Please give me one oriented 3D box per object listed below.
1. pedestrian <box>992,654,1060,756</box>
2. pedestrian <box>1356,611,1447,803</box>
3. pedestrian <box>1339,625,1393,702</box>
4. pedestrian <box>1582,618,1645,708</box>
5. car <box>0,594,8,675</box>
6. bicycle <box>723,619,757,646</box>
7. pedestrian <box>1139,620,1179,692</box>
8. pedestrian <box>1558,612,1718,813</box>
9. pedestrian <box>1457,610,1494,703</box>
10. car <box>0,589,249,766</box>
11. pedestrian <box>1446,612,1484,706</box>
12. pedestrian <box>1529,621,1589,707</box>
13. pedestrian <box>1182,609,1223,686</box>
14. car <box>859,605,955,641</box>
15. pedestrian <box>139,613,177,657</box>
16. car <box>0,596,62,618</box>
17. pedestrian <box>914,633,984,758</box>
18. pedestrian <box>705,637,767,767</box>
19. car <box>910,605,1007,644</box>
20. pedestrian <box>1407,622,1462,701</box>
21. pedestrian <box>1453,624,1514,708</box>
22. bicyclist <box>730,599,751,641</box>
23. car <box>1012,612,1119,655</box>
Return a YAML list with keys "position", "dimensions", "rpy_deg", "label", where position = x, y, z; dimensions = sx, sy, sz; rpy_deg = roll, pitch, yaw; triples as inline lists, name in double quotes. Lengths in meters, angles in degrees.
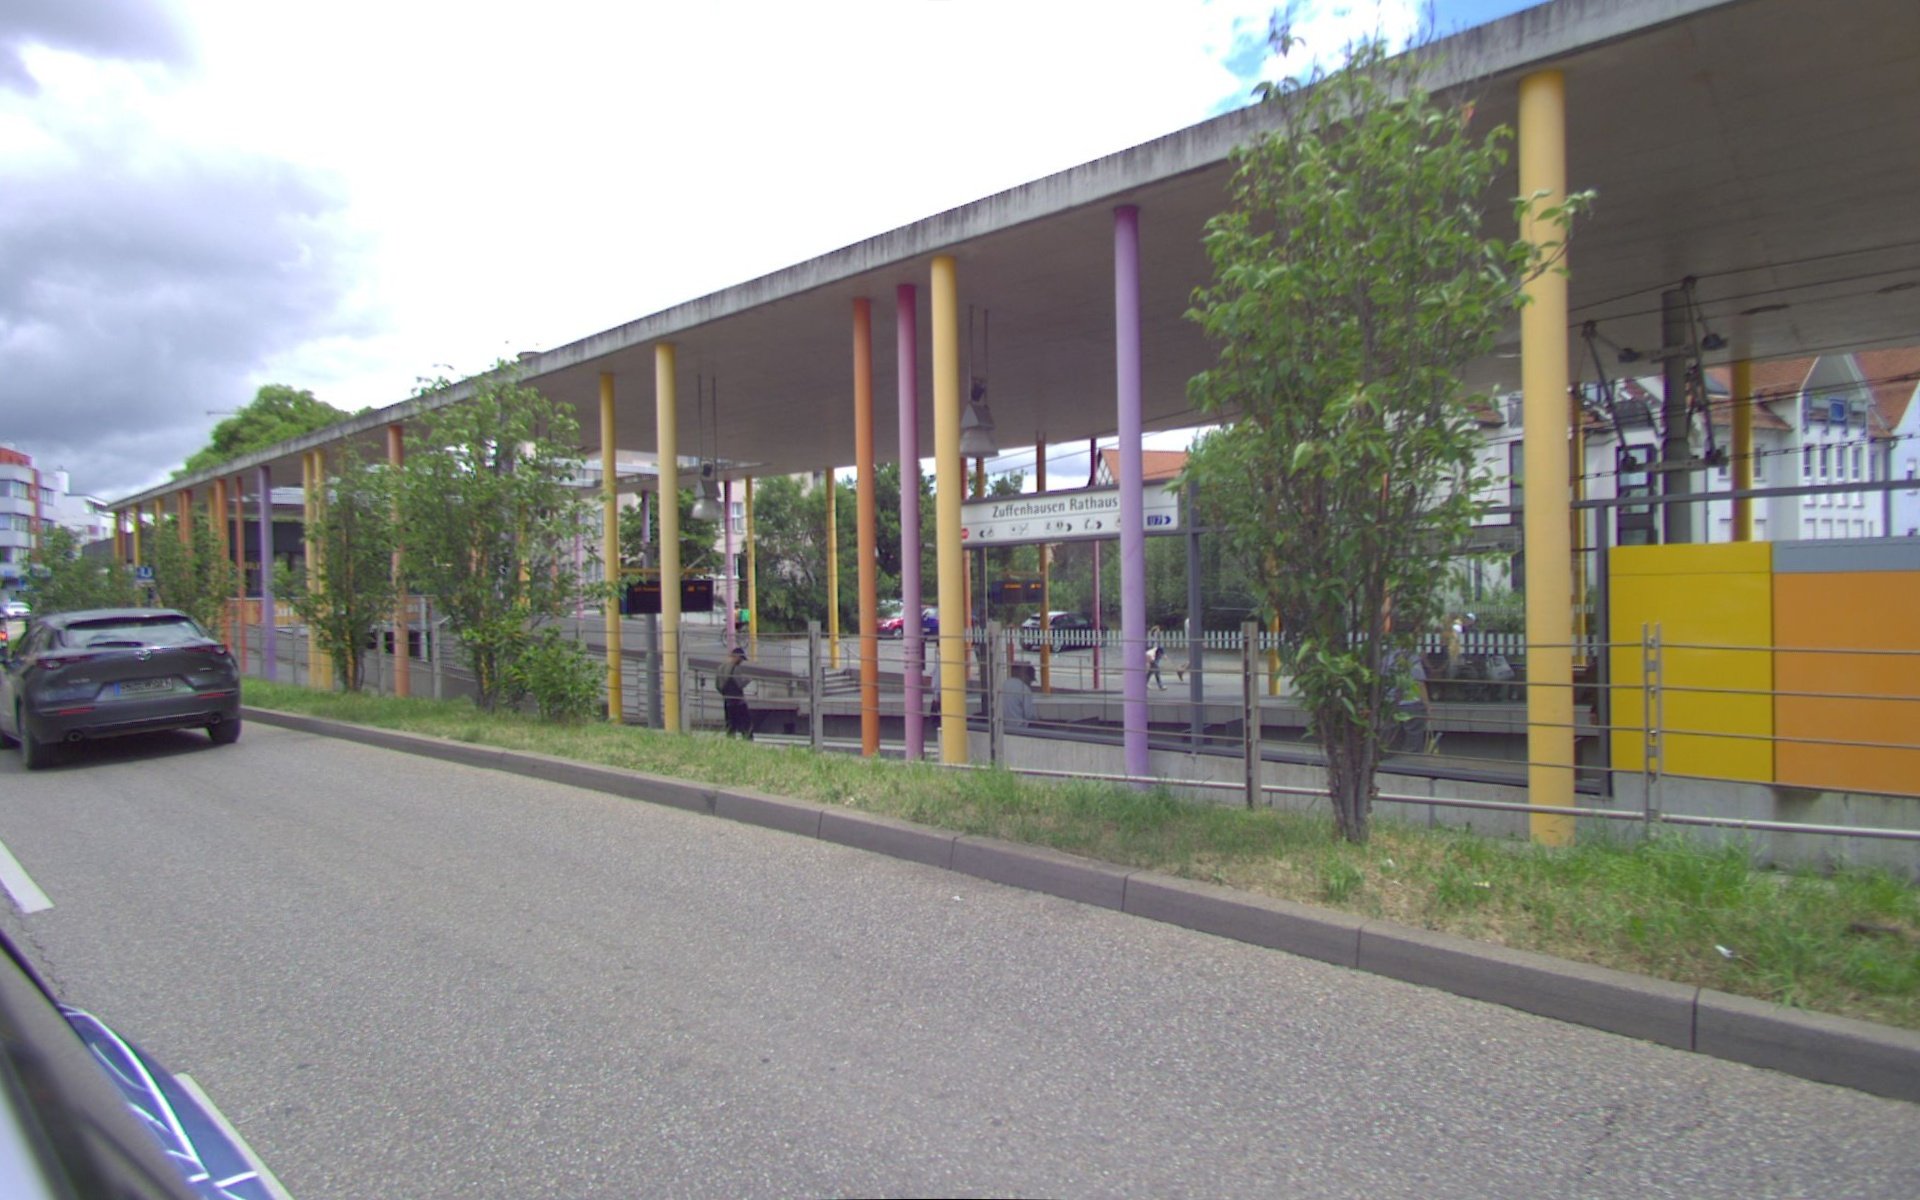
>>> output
- position: [0.762, 1.195, 11.643]
  dimensions: [0.484, 1.091, 0.559]
  rpy_deg: [-3, 0, 41]
  label: "pedestrian"
- position: [3.990, 0.940, 9.137]
  dimensions: [0.548, 1.645, 0.526]
  rpy_deg: [-3, 0, 41]
  label: "pedestrian"
- position: [7.786, 1.206, 19.412]
  dimensions: [0.705, 1.389, 0.678]
  rpy_deg: [-3, 0, 42]
  label: "pedestrian"
- position: [10.725, 1.012, 16.608]
  dimensions: [0.702, 1.389, 0.814]
  rpy_deg: [-3, 0, 42]
  label: "pedestrian"
- position: [-25.656, 0.911, 25.487]
  dimensions: [5.063, 1.931, 1.983]
  rpy_deg: [-1, 1, 42]
  label: "car"
- position: [-8.610, 1.254, 39.596]
  dimensions: [1.613, 0.970, 0.478]
  rpy_deg: [1, 3, 44]
  label: "bicycle"
- position: [4.865, 1.346, 24.767]
  dimensions: [0.730, 1.674, 0.635]
  rpy_deg: [1, 3, 41]
  label: "pedestrian"
- position: [5.596, 0.901, 8.380]
  dimensions: [0.674, 1.539, 0.758]
  rpy_deg: [-2, -3, -23]
  label: "pedestrian"
- position: [10.445, 1.137, 20.508]
  dimensions: [0.491, 1.834, 0.478]
  rpy_deg: [-3, 0, 39]
  label: "pedestrian"
- position: [-9.562, 0.733, 11.256]
  dimensions: [4.253, 1.532, 1.707]
  rpy_deg: [-1, 2, 41]
  label: "car"
- position: [9.886, 1.154, 19.824]
  dimensions: [0.491, 1.788, 0.478]
  rpy_deg: [-3, 0, 39]
  label: "pedestrian"
- position: [10.099, 1.067, 17.073]
  dimensions: [0.702, 1.389, 0.644]
  rpy_deg: [-3, 0, 42]
  label: "pedestrian"
- position: [6.198, 1.188, 25.875]
  dimensions: [0.800, 1.897, 0.635]
  rpy_deg: [1, 3, 42]
  label: "pedestrian"
- position: [-2.334, 0.991, 44.989]
  dimensions: [3.933, 1.347, 1.731]
  rpy_deg: [-2, 2, -33]
  label: "car"
- position: [-29.913, 1.284, 37.747]
  dimensions: [0.814, 1.577, 0.918]
  rpy_deg: [1, 3, 40]
  label: "pedestrian"
- position: [-81.130, 0.592, 88.305]
  dimensions: [1.820, 1.675, 3.997]
  rpy_deg: [-1, 2, 3]
  label: "car"
- position: [-0.149, 1.289, 13.902]
  dimensions: [0.636, 1.626, 0.623]
  rpy_deg: [-3, 0, 42]
  label: "pedestrian"
- position: [-3.383, 1.516, 15.298]
  dimensions: [0.710, 1.843, 0.580]
  rpy_deg: [1, 3, 43]
  label: "pedestrian"
- position: [-0.041, 1.000, 43.124]
  dimensions: [3.933, 1.411, 1.575]
  rpy_deg: [-2, 2, -33]
  label: "car"
- position: [8.750, 1.118, 18.656]
  dimensions: [0.702, 1.389, 0.644]
  rpy_deg: [-3, 0, 42]
  label: "pedestrian"
- position: [9.354, 1.162, 18.067]
  dimensions: [0.702, 1.389, 0.917]
  rpy_deg: [-3, 0, 42]
  label: "pedestrian"
- position: [-8.586, 0.777, 39.544]
  dimensions: [0.682, 1.605, 0.478]
  rpy_deg: [1, 3, 44]
  label: "bicyclist"
- position: [4.037, 1.217, 38.396]
  dimensions: [3.933, 1.347, 1.575]
  rpy_deg: [-2, 2, -33]
  label: "car"
